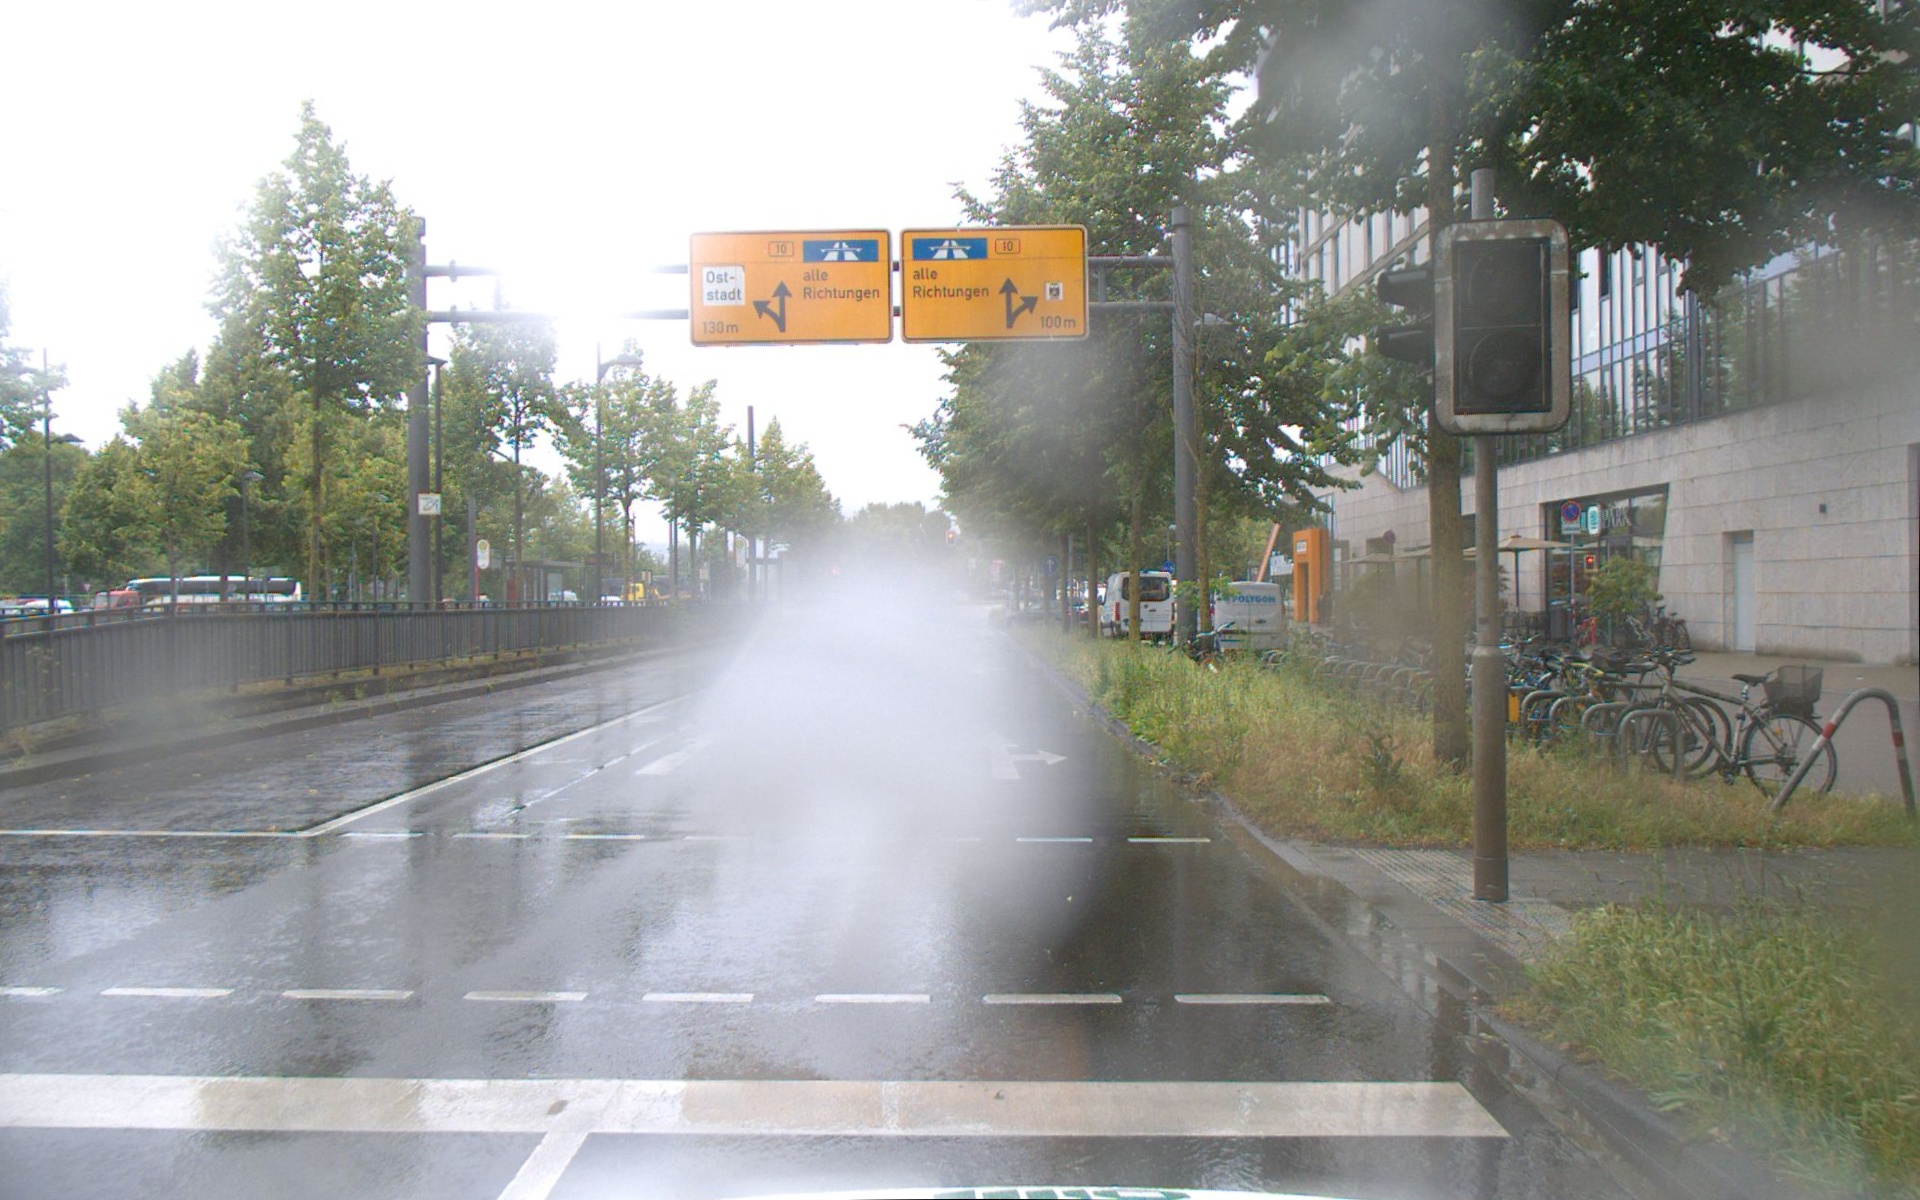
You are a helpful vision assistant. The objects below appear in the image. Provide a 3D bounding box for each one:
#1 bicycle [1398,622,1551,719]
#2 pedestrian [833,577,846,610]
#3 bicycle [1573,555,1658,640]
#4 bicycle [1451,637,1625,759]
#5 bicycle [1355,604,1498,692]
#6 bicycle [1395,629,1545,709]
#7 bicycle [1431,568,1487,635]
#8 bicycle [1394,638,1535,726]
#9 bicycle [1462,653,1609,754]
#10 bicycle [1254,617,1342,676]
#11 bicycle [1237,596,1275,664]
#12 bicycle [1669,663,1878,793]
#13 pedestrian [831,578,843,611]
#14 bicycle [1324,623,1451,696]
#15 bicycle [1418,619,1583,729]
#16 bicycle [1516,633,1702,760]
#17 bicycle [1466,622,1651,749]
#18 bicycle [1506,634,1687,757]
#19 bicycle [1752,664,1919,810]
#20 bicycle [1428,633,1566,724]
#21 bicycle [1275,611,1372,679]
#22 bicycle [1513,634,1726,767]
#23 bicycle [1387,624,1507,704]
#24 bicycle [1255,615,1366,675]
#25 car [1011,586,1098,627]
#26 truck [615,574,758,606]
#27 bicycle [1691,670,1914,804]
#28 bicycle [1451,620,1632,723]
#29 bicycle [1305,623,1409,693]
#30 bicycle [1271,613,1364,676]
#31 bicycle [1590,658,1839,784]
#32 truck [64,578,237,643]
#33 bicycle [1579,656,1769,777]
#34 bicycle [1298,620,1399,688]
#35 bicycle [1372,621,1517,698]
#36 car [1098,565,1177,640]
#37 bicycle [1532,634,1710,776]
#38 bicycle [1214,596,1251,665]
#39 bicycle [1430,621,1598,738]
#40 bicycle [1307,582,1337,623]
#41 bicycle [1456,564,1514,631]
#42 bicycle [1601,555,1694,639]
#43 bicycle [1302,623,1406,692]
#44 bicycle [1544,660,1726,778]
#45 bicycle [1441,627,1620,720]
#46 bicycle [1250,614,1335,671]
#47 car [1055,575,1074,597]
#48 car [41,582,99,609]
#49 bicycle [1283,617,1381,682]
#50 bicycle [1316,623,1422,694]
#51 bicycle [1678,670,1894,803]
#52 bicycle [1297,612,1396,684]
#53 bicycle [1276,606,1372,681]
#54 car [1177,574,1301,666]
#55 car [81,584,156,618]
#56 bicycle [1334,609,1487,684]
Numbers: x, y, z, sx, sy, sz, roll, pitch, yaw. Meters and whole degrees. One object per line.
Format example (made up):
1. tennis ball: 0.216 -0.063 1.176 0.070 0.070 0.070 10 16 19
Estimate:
1. bicycle: 5.600 0.763 18.011 1.582 1.040 0.275 0 0 -1
2. pedestrian: -7.621 -0.410 104.791 0.683 2.048 0.656 -1 2 9
3. bicycle: 14.651 -0.092 37.062 0.631 1.752 3.121 -1 3 0
4. bicycle: 5.136 0.866 14.719 1.423 1.035 0.348 -1 0 -3
5. bicycle: 5.570 0.571 19.780 1.609 1.006 0.320 -1 0 -1
6. bicycle: 5.642 0.761 18.318 1.582 0.864 0.275 0 0 -1
7. bicycle: 14.194 0.011 47.113 0.631 1.752 3.121 -1 3 0
8. bicycle: 5.250 0.847 17.229 1.377 0.864 0.275 -1 0 -3
9. bicycle: 5.255 0.940 15.109 1.263 0.864 0.275 -1 0 -6
10. bicycle: 5.093 0.698 24.964 1.262 0.864 0.275 -1 0 -1
11. bicycle: 3.894 0.384 21.804 0.269 0.864 1.293 -1 0 0
12. bicycle: 5.628 0.885 11.480 1.261 0.864 0.275 -1 0 11
13. pedestrian: -7.850 -0.351 105.659 0.683 2.048 0.656 -1 2 0
14. bicycle: 5.298 0.730 20.517 1.491 0.864 0.277 -1 0 -1
15. bicycle: 5.507 0.745 16.865 1.580 1.072 0.296 -1 0 -3
16. bicycle: 5.451 0.806 13.926 1.408 1.035 0.349 -1 0 6
17. bicycle: 5.607 0.791 15.507 1.673 1.122 0.283 -1 0 -7
18. bicycle: 5.495 0.822 14.315 1.408 1.035 0.349 -1 0 4
19. bicycle: 5.734 0.860 10.460 1.261 0.889 0.301 -1 0 11
20. bicycle: 5.714 0.831 17.617 1.382 0.913 0.275 -1 0 -3
21. bicycle: 5.100 0.626 23.222 1.298 0.926 0.275 -1 0 -1
22. bicycle: 5.358 0.814 13.477 1.540 1.035 0.408 -1 0 6
23. bicycle: 5.494 0.715 18.671 1.262 0.864 0.275 -1 0 -1
24. bicycle: 5.206 0.666 24.590 1.562 0.864 0.311 -1 0 -1
25. car: 4.047 0.254 71.269 1.798 1.571 3.956 -2 3 -32
26. truck: -28.784 -1.047 174.744 14.708 3.202 3.486 0 0 -31
27. bicycle: 5.525 0.900 10.880 1.261 0.846 0.275 -1 0 11
28. bicycle: 5.569 0.683 15.844 1.673 0.964 0.313 0 0 -7
29. bicycle: 5.077 0.737 21.167 1.262 0.864 0.275 -1 0 -1
30. bicycle: 5.098 0.632 23.593 1.262 0.864 0.275 -1 0 -1
31. bicycle: 5.453 0.872 11.985 1.637 0.864 0.275 -1 0 4
32. truck: -65.332 0.787 133.851 12.305 4.672 3.373 -2 3 -27
33. bicycle: 5.318 0.866 12.341 1.261 0.864 0.275 -1 0 4
34. bicycle: 5.138 0.713 21.884 1.262 0.864 0.275 -1 0 -1
35. bicycle: 5.547 0.681 18.947 1.582 0.864 0.275 0 0 -1
36. car: 5.783 0.070 54.338 2.078 2.313 4.564 -1 0 0
37. bicycle: 5.224 0.829 13.097 1.261 1.093 0.275 -1 0 8
38. bicycle: 3.575 0.389 21.741 0.269 0.864 1.293 -1 0 0
39. bicycle: 5.539 0.793 16.557 1.580 1.116 0.296 -1 0 -3
40. bicycle: 15.020 0.099 68.678 0.652 1.561 2.765 -1 3 0
41. bicycle: 14.928 -0.095 47.120 0.631 1.752 3.121 -1 3 0
42. bicycle: 15.417 -0.111 37.193 0.756 1.752 3.121 -1 3 0
43. bicycle: 5.127 0.741 21.542 1.262 0.864 0.355 -1 0 -1
44. bicycle: 5.161 0.908 12.667 1.261 0.873 0.275 -1 0 4
45. bicycle: 5.587 0.717 16.213 1.672 0.864 0.313 -1 0 -4
46. bicycle: 5.229 0.663 26.010 1.262 0.864 0.311 -1 0 -1
47. car: 9.261 -1.248 146.821 1.589 1.729 3.458 -1 3 3
48. car: -64.141 -0.327 119.268 3.485 1.768 1.694 -2 3 -24
49. bicycle: 5.081 0.672 22.594 1.262 0.864 0.275 -1 0 -1
50. bicycle: 5.153 0.733 20.862 1.262 0.864 0.275 -1 0 -1
51. bicycle: 5.564 0.917 11.176 1.261 0.864 0.275 -1 0 11
52. bicycle: 5.193 0.640 22.248 1.262 0.935 0.275 -1 0 -1
53. bicycle: 5.037 0.601 22.899 1.262 1.006 0.275 -1 0 -1
54. car: 5.951 0.379 35.787 1.867 1.822 4.688 -1 0 0
55. car: -51.311 0.061 100.932 1.951 2.049 4.003 0 0 15
56. bicycle: 5.485 0.565 20.153 1.780 0.864 0.275 -1 0 -1
